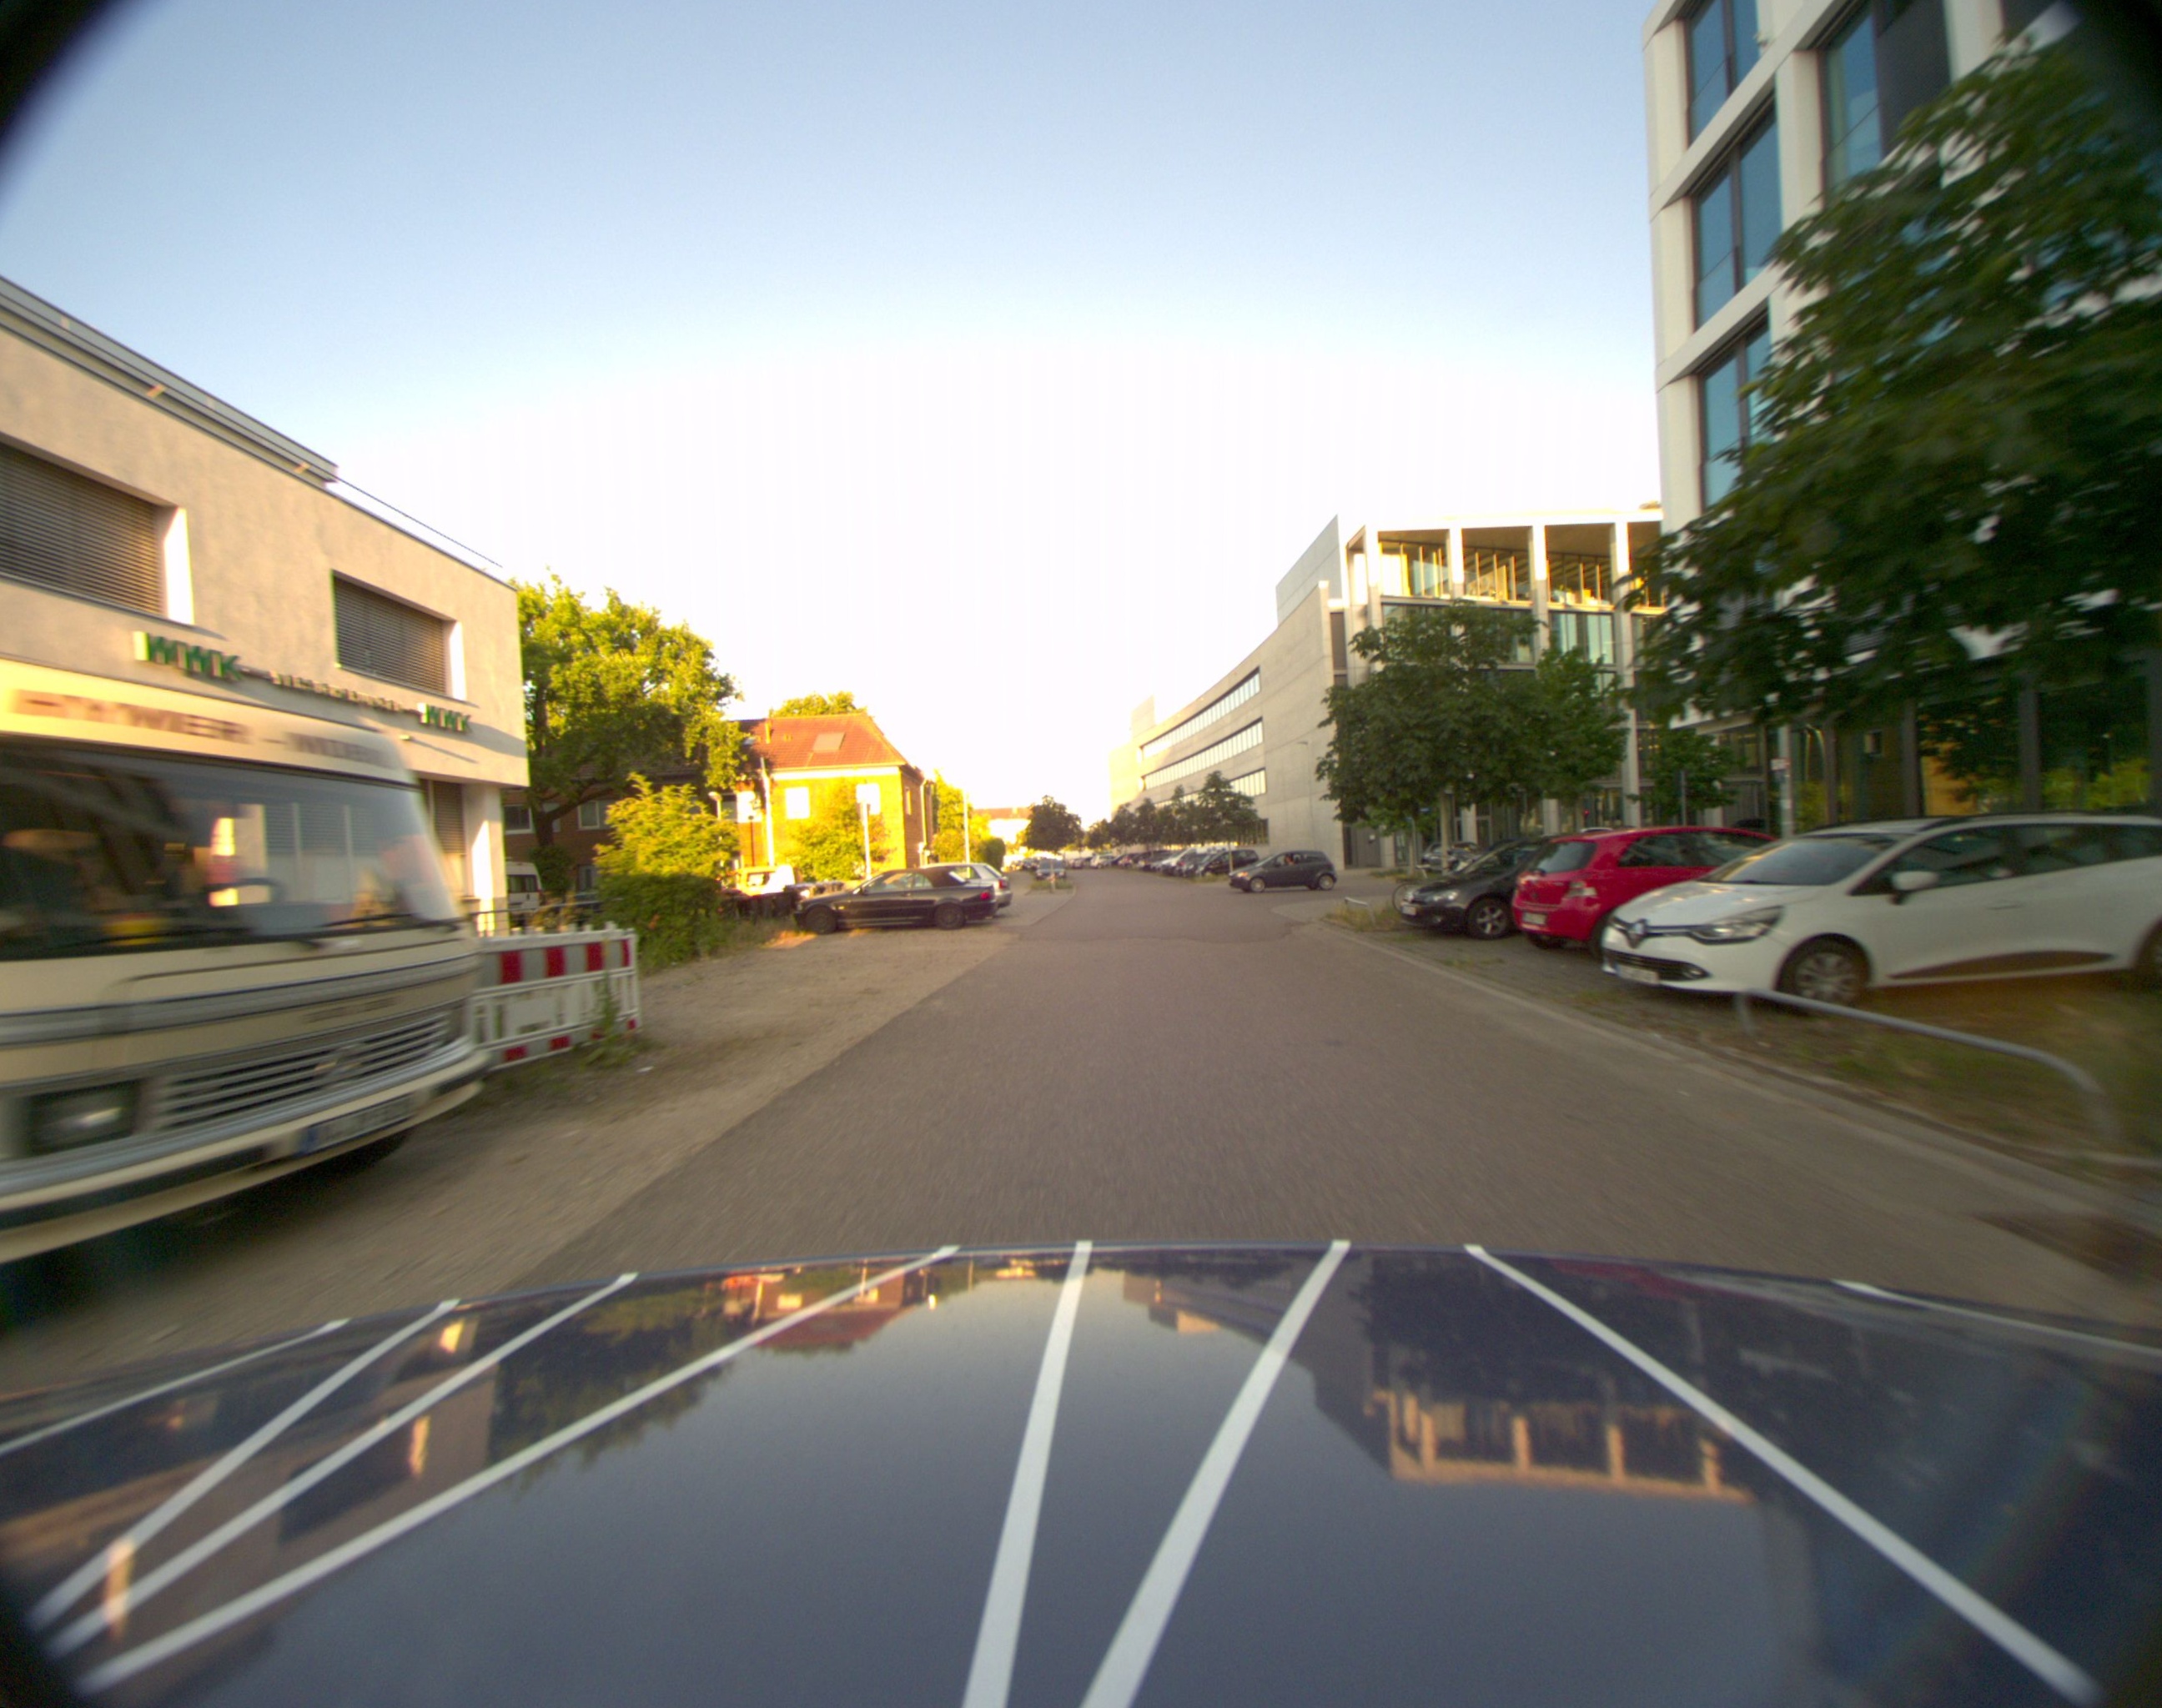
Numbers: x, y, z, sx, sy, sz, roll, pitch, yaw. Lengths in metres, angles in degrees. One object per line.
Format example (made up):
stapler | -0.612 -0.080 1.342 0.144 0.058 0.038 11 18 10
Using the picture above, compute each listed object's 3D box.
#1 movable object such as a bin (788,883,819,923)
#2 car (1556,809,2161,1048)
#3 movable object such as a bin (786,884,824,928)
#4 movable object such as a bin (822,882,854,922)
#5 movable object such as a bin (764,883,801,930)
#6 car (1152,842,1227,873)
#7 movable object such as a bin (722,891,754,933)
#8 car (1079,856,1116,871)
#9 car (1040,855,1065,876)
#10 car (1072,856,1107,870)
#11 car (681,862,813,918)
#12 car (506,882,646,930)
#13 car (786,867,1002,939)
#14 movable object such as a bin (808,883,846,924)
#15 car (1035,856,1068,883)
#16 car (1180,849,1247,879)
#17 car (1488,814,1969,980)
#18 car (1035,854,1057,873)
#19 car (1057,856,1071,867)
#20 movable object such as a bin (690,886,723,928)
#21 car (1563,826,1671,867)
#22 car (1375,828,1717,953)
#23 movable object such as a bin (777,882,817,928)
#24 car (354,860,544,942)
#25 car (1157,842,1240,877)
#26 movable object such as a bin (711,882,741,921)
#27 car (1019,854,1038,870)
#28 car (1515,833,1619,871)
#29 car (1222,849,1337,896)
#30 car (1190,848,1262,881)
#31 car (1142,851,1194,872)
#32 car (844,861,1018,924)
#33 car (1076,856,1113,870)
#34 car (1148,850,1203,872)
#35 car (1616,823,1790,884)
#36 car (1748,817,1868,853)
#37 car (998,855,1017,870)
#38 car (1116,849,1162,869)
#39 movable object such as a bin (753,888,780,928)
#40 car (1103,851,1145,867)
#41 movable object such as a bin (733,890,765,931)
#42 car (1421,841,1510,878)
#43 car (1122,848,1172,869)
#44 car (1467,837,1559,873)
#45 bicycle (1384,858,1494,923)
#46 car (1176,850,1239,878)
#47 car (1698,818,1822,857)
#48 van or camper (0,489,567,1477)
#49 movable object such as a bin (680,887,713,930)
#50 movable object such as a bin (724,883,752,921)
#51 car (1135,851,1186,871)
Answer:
movable object such as a bin | -7.494 1.323 20.509 0.645 1.015 0.446 -3 1 -8
car | 6.718 0.540 6.477 4.118 1.509 1.781 -4 0 2
movable object such as a bin | -6.966 1.311 19.230 0.707 1.015 0.711 -3 1 -8
movable object such as a bin | -6.625 1.288 20.736 0.645 1.015 0.711 -3 1 -8
movable object such as a bin | -6.993 1.220 17.810 0.623 1.015 0.561 -3 1 -4
car | 7.955 0.279 56.068 5.083 1.816 1.888 -5 0 -4
movable object such as a bin | -7.381 1.238 16.353 0.477 0.852 0.396 -3 1 -4
car | 1.903 1.085 89.083 4.028 1.340 1.798 -5 0 -10
car | -2.153 0.813 57.037 1.770 1.454 4.367 -2 0 -3
car | 1.033 1.101 93.929 4.028 1.340 1.798 -5 0 -10
car | -12.082 1.282 27.657 3.952 1.755 1.782 -3 -1 -5
car | -17.978 1.834 27.199 3.608 1.446 1.957 -3 -1 -5
car | -4.033 1.043 16.998 4.326 1.326 1.896 -2 1 -1
movable object such as a bin | -6.695 1.295 20.044 0.758 1.015 0.711 -3 1 -8
car | -1.695 0.871 44.846 1.680 1.454 4.368 -2 0 0
car | 7.967 0.590 45.765 3.654 1.416 1.725 -5 0 1
car | 7.510 0.475 9.176 4.118 1.509 1.845 -4 0 2
car | -2.944 0.803 63.593 1.770 1.454 4.367 -2 0 -3
car | -2.585 1.105 114.122 1.799 1.442 4.027 -5 0 -4
movable object such as a bin | -8.867 1.245 18.011 0.468 0.926 0.526 -2 1 -1
car | 23.832 -0.373 33.994 1.649 1.619 4.134 -3 2 -5
car | 7.038 0.528 11.855 4.118 1.509 1.845 -4 0 1
movable object such as a bin | -6.864 1.225 18.396 0.707 1.015 0.711 -3 1 -8
car | -22.332 1.616 27.031 4.752 2.544 2.097 -3 -1 -5
car | 7.882 0.344 51.097 5.083 1.870 1.888 -5 0 -4
movable object such as a bin | -8.924 1.180 19.128 0.468 0.926 0.526 -2 1 -1
car | -5.200 0.811 75.377 1.770 1.454 4.367 -2 0 -3
car | 21.244 -0.150 33.425 1.649 1.483 4.134 -3 2 -5
car | 7.298 0.677 28.151 3.734 1.486 1.649 -3 0 -2
car | 8.189 0.559 43.090 3.654 1.538 1.725 -5 0 1
car | 6.924 0.573 60.831 3.812 1.353 1.799 -5 0 -4
car | -3.721 0.947 19.416 4.066 1.399 1.896 -2 0 -1
car | 1.618 1.062 91.500 4.028 1.340 1.798 -5 0 -10
car | 7.230 0.535 58.137 3.812 1.353 1.799 -5 0 -4
car | 17.630 -0.006 21.783 1.730 1.487 3.723 -4 0 -3
car | 33.253 -0.872 34.909 1.649 1.497 3.855 -3 2 -5
car | -7.928 0.878 82.459 1.770 1.454 4.367 -2 0 -3
car | 5.628 0.466 74.067 4.028 1.574 1.798 -5 0 -10
movable object such as a bin | -7.154 1.229 17.302 0.415 0.852 0.396 -3 1 -4
car | 4.445 0.527 78.958 4.028 1.340 1.798 -5 0 -10
movable object such as a bin | -7.360 1.240 16.848 0.500 0.852 0.396 -3 1 -4
car | 16.556 0.180 32.933 1.649 1.378 3.816 -3 2 -5
car | 5.975 0.424 69.011 4.028 1.574 1.798 -5 0 -10
car | 19.052 0.003 33.707 1.561 1.420 3.901 -3 2 -5
bicycle | 6.607 0.663 14.072 1.700 1.059 0.566 -4 0 3
car | 8.030 0.615 48.348 3.655 1.416 1.725 -5 0 0
car | 30.349 -0.731 34.118 1.649 1.565 4.134 -3 2 -5
van or camper | -6.035 0.441 3.269 5.795 2.848 2.486 -2 1 -1
movable object such as a bin | -8.775 1.246 17.353 0.468 0.926 0.526 -2 1 -1
movable object such as a bin | -8.895 1.236 19.719 0.468 0.926 0.526 -2 1 -1
car | 6.608 0.551 63.377 3.812 1.353 1.799 -5 0 -4
